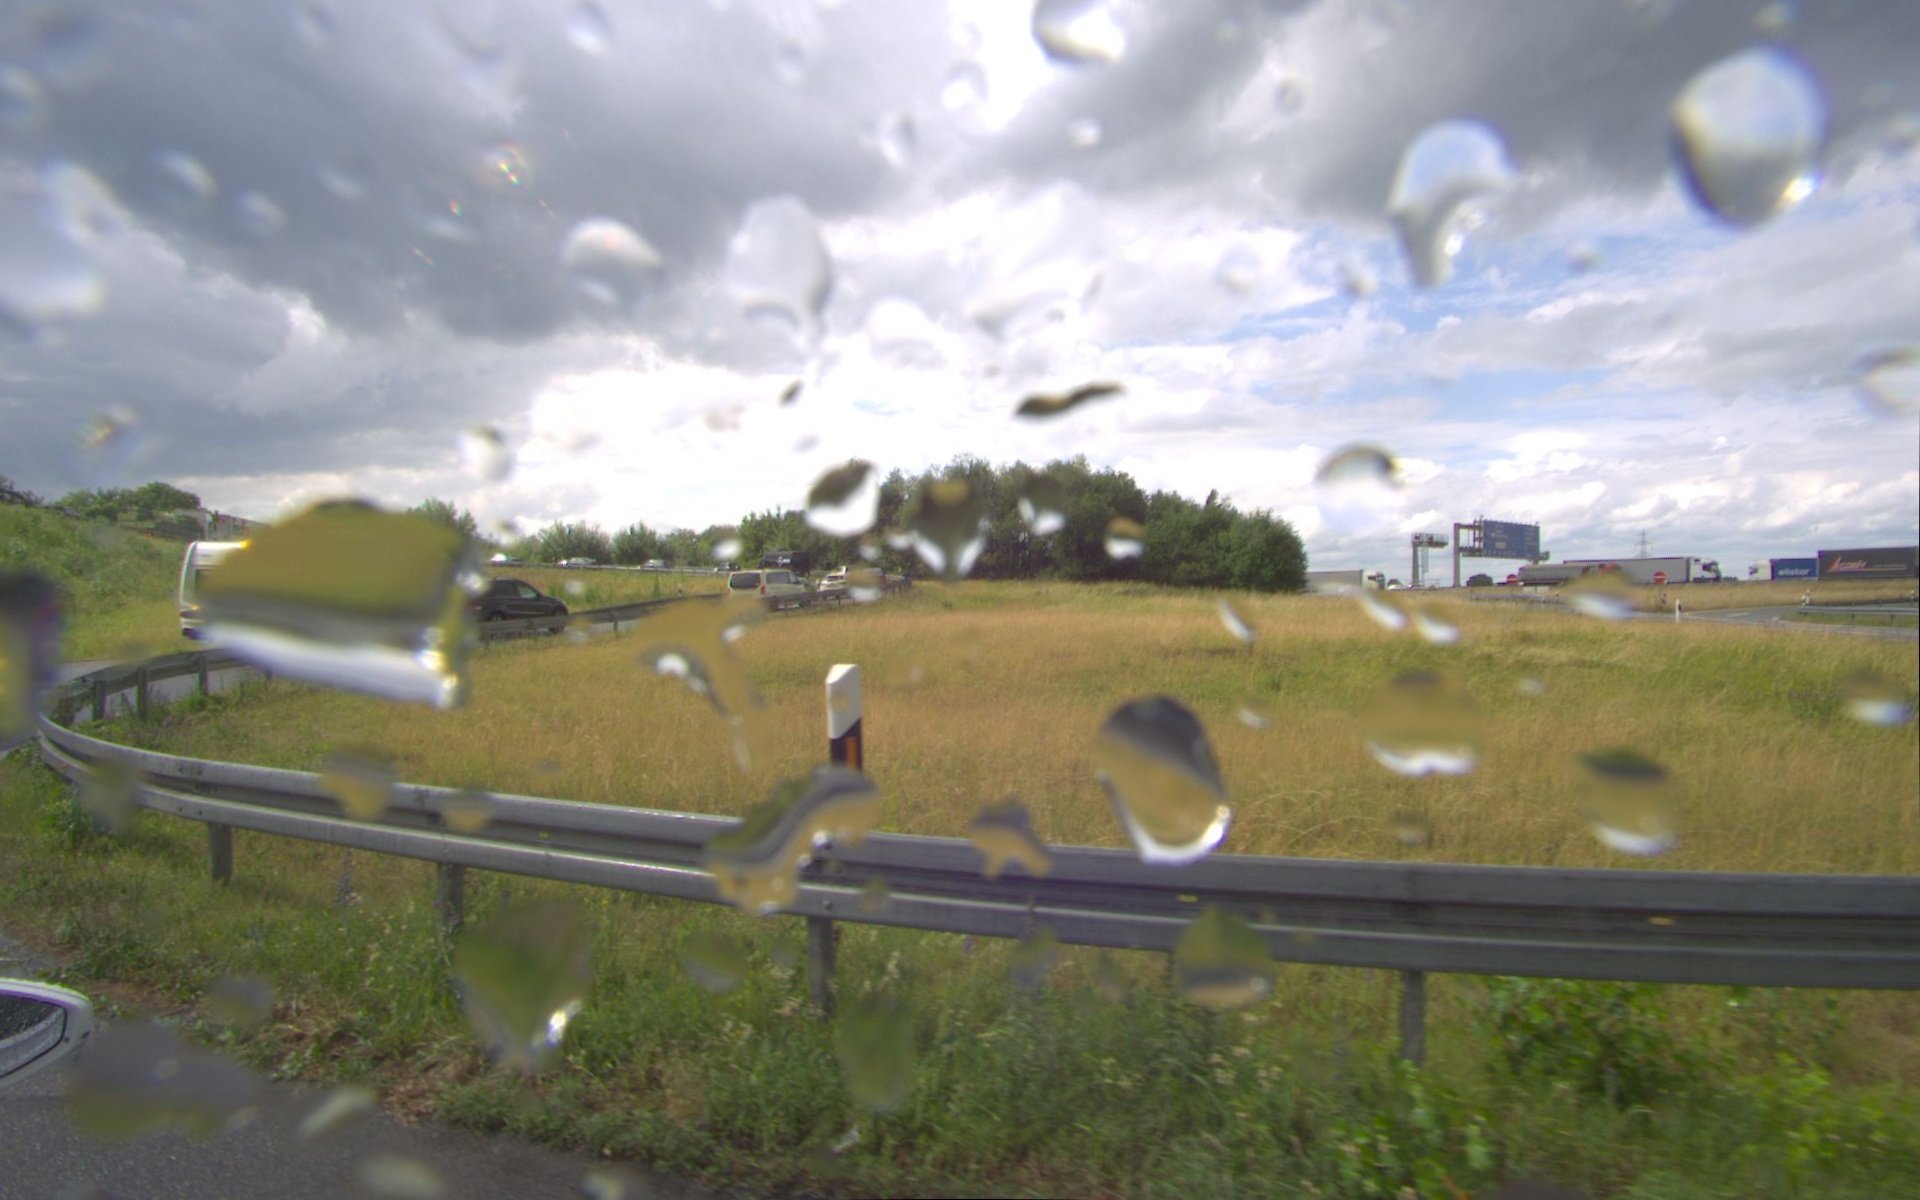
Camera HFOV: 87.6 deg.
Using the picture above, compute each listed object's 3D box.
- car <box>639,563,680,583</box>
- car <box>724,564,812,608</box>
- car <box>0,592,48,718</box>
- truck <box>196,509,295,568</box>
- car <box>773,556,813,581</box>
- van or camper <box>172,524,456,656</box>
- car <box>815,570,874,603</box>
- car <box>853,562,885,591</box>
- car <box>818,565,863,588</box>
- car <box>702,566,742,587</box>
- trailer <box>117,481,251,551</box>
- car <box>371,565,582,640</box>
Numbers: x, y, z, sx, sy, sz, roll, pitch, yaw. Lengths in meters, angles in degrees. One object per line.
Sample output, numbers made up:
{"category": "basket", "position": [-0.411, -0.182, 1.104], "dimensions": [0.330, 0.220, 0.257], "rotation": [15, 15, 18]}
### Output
{"category": "car", "position": [-31.958, -2.887, 106.442], "dimensions": [3.941, 2.041, 1.989], "rotation": [2, 2, 32]}
{"category": "car", "position": [-8.759, -0.628, 46.094], "dimensions": [1.963, 1.886, 5.050], "rotation": [0, 1, 15]}
{"category": "car", "position": [-12.348, 0.641, 11.566], "dimensions": [1.698, 1.544, 3.981], "rotation": [2, -1, -28]}
{"category": "truck", "position": [-76.491, -6.360, 107.888], "dimensions": [4.402, 4.560, 19.318], "rotation": [1, -2, -23]}
{"category": "car", "position": [-15.374, -2.869, 92.231], "dimensions": [1.977, 2.039, 3.969], "rotation": [1, -2, -38]}
{"category": "van or camper", "position": [-15.351, -0.274, 24.412], "dimensions": [2.392, 2.767, 5.996], "rotation": [2, 1, 10]}
{"category": "car", "position": [-6.700, -0.771, 58.823], "dimensions": [1.962, 1.886, 5.053], "rotation": [0, 1, 11]}
{"category": "car", "position": [-6.278, -1.567, 68.829], "dimensions": [1.962, 1.886, 5.054], "rotation": [0, 1, -8]}
{"category": "car", "position": [-9.941, -1.918, 82.797], "dimensions": [1.643, 1.808, 5.024], "rotation": [-1, 1, -33]}
{"category": "car", "position": [-23.875, -2.303, 100.496], "dimensions": [3.955, 2.041, 1.983], "rotation": [0, 1, 42]}
{"category": "trailer", "position": [-68.999, -7.221, 89.912], "dimensions": [4.356, 4.006, 20.158], "rotation": [1, -2, -23]}
{"category": "car", "position": [-14.128, 0.024, 29.769], "dimensions": [2.392, 1.952, 5.750], "rotation": [2, 1, 17]}
